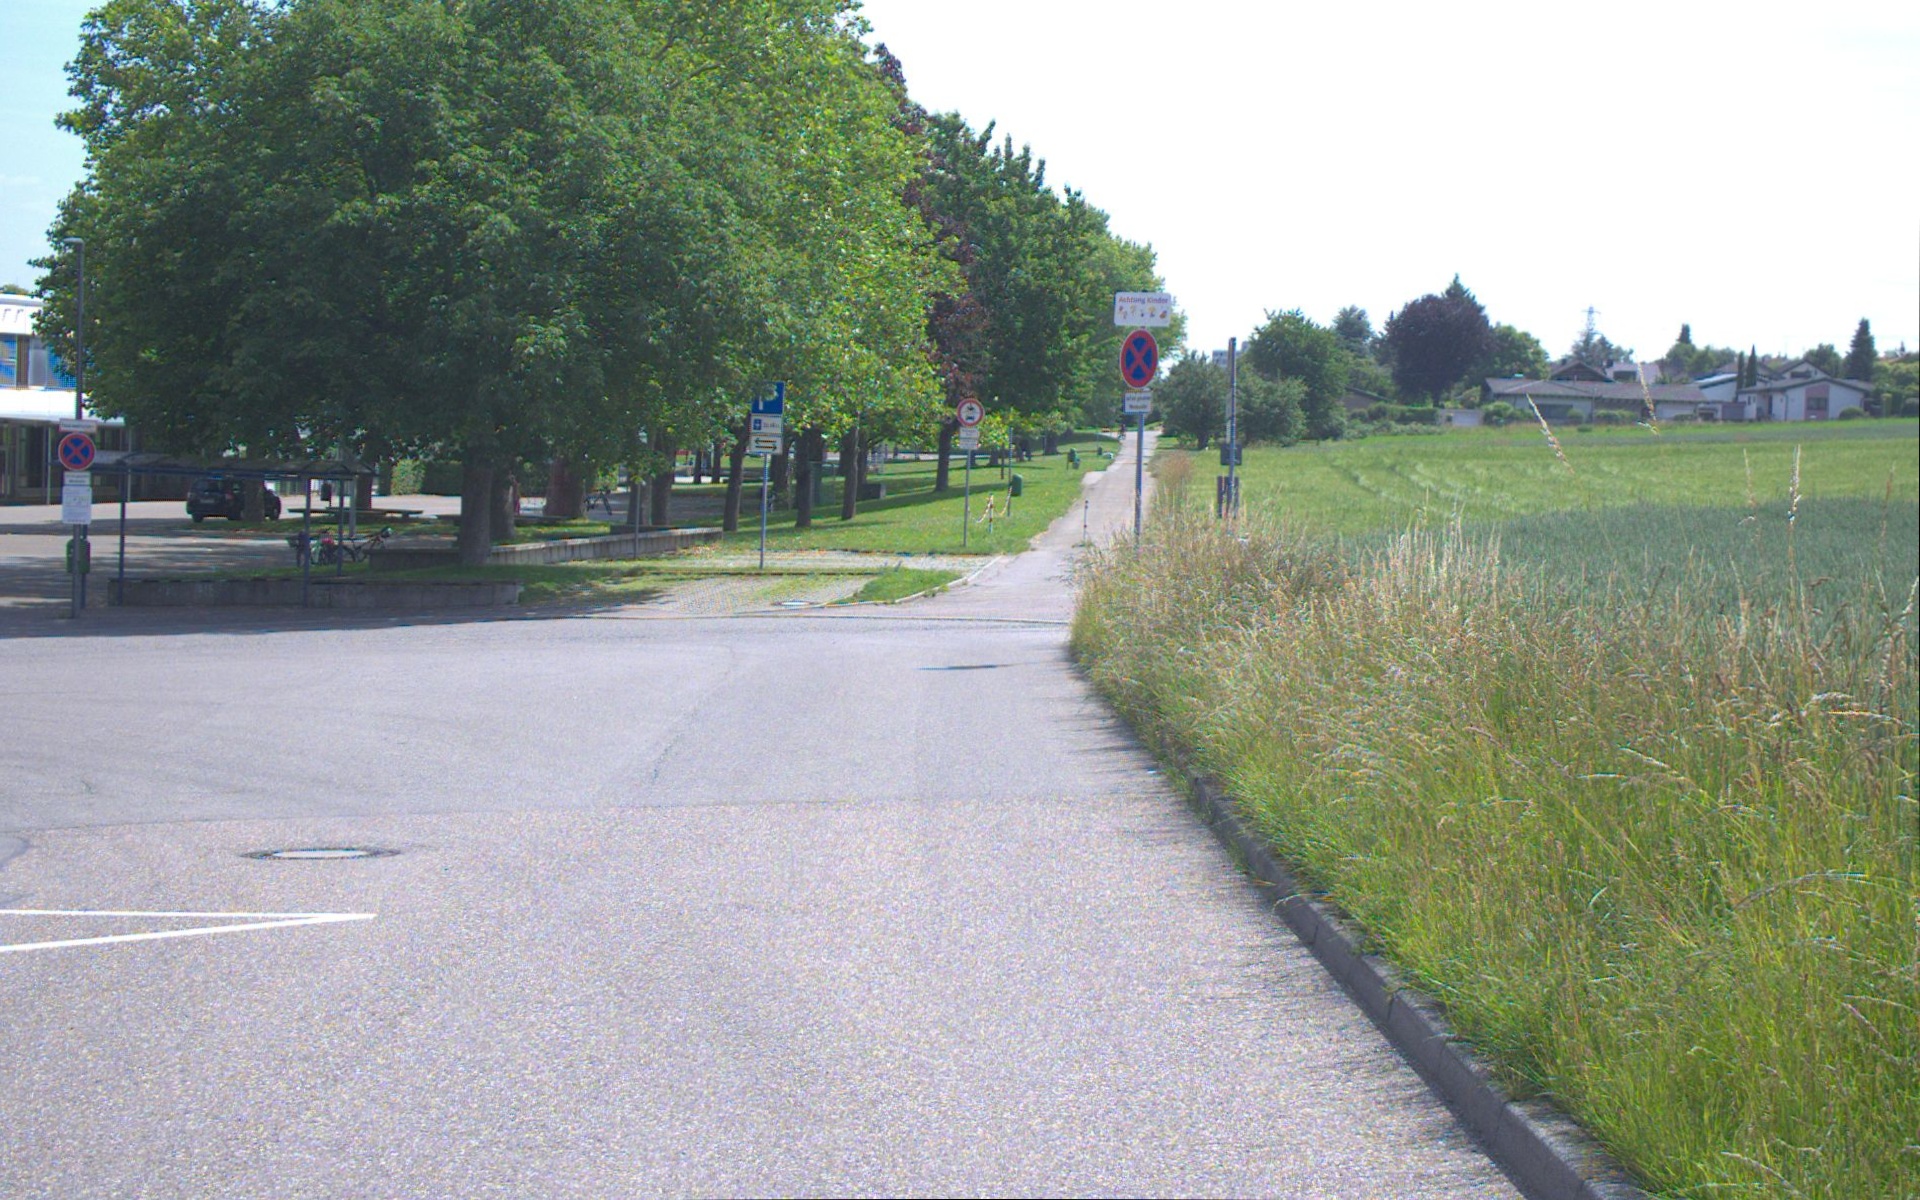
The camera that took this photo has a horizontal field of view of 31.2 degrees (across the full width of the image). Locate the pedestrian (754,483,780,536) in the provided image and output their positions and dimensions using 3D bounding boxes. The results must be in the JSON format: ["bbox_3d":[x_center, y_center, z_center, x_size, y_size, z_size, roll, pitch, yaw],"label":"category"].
[{"bbox_3d":[-7.379,-3.440,131.140,0.682,2.006,0.803,0,2,-30],"label":"pedestrian"}]

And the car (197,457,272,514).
[{"bbox_3d":[-23.534,-3.724,111.636,1.691,1.828,3.411,0,2,1],"label":"car"}]

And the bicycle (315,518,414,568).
[{"bbox_3d":[-12.884,-1.233,74.374,2.062,1.035,0.572,-1,2,-5],"label":"bicycle"}]

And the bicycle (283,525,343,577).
[{"bbox_3d":[-13.656,-1.041,72.578,0.595,1.035,1.892,0,2,10],"label":"bicycle"}]
